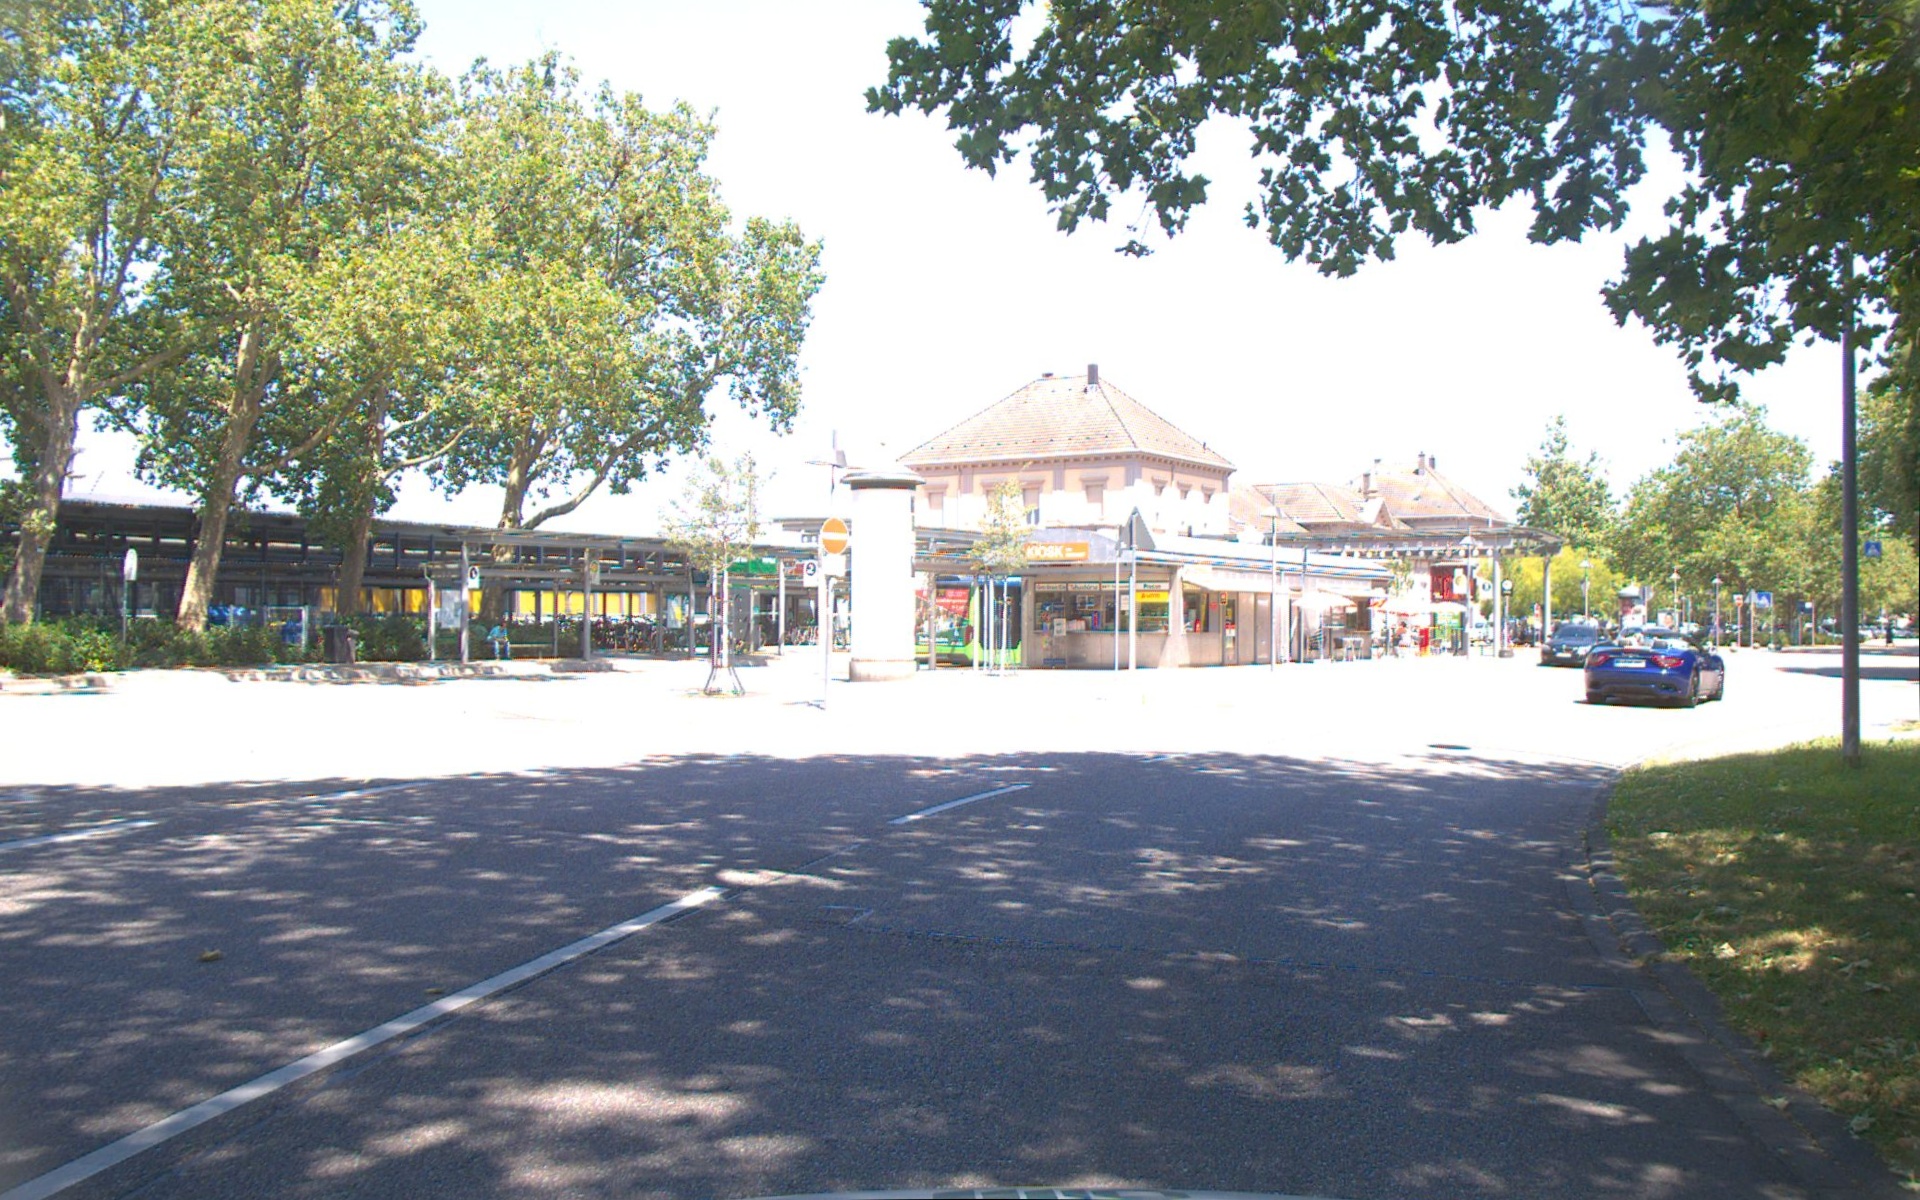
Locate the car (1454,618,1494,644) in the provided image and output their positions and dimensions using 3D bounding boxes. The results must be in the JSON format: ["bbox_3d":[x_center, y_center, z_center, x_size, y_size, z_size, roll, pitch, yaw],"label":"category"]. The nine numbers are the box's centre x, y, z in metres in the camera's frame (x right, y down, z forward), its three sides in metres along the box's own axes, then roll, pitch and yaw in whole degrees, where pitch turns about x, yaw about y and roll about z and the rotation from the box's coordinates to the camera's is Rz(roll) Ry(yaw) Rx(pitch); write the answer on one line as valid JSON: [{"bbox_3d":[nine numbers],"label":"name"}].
[{"bbox_3d":[39.747,2.357,127.784,1.720,1.951,4.762,-1,-1,33],"label":"car"}]

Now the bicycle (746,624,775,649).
[{"bbox_3d":[-8.939,1.623,74.218,1.356,1.113,0.385,-1,0,33],"label":"bicycle"}]

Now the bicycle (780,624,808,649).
[{"bbox_3d":[-7.400,1.615,73.783,1.357,1.113,0.385,-1,-1,35],"label":"bicycle"}]

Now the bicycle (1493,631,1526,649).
[{"bbox_3d":[31.763,2.307,95.670,1.754,1.049,0.489,0,-1,10],"label":"bicycle"}]

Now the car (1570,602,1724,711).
[{"bbox_3d":[12.935,1.020,30.991,2.086,1.881,4.038,0,-1,31],"label":"car"}]

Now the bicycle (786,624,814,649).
[{"bbox_3d":[-7.164,1.612,74.138,1.357,1.113,0.385,-1,-1,35],"label":"bicycle"}]

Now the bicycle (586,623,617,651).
[{"bbox_3d":[-14.752,1.522,68.019,1.357,1.113,0.385,-1,-3,35],"label":"bicycle"}]

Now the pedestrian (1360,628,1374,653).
[{"bbox_3d":[16.356,1.637,66.393,0.369,0.989,0.419,3,-4,-43],"label":"pedestrian"}]

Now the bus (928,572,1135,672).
[{"bbox_3d":[3.075,0.867,64.652,2.124,3.588,12.186,0,-1,33],"label":"bus"}]

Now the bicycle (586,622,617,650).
[{"bbox_3d":[-14.330,1.450,66.142,1.357,1.113,0.385,-1,-3,35],"label":"bicycle"}]

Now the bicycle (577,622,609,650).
[{"bbox_3d":[-14.602,1.430,65.765,1.357,1.113,0.385,-1,-3,35],"label":"bicycle"}]

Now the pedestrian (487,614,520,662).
[{"bbox_3d":[-14.425,1.205,52.229,0.594,1.489,0.820,-1,-1,30],"label":"pedestrian"}]

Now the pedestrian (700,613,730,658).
[{"bbox_3d":[-8.961,1.307,60.458,0.802,1.646,0.769,0,-2,15],"label":"pedestrian"}]

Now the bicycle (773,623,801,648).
[{"bbox_3d":[-7.670,1.573,73.338,1.377,1.119,0.366,-1,-1,35],"label":"bicycle"}]

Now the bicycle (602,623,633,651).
[{"bbox_3d":[-13.834,1.488,66.856,1.357,1.113,0.385,-1,-3,35],"label":"bicycle"}]

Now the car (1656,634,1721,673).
[{"bbox_3d":[31.075,2.286,70.530,1.783,1.469,4.146,-5,-3,33],"label":"car"}]

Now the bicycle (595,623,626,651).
[{"bbox_3d":[-14.057,1.470,66.515,1.357,1.113,0.385,-1,-3,35],"label":"bicycle"}]

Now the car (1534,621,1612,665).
[{"bbox_3d":[21.931,1.516,59.033,1.687,1.504,4.773,-1,-1,32],"label":"car"}]

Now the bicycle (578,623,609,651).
[{"bbox_3d":[-14.992,1.503,67.667,1.357,1.113,0.385,-1,-3,35],"label":"bicycle"}]

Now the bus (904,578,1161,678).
[{"bbox_3d":[2.946,1.011,57.738,2.626,3.094,13.858,-1,-1,31],"label":"bus"}]

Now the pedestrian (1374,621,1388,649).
[{"bbox_3d":[25.663,2.122,100.844,0.643,1.703,0.629,1,-3,-12],"label":"pedestrian"}]

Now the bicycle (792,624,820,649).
[{"bbox_3d":[-6.927,1.621,74.488,1.357,1.113,0.385,-1,-1,35],"label":"bicycle"}]

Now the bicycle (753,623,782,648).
[{"bbox_3d":[-8.678,1.618,74.626,1.357,1.113,0.385,-1,-1,34],"label":"bicycle"}]

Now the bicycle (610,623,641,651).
[{"bbox_3d":[-13.608,1.506,67.203,1.357,1.113,0.385,-1,-3,35],"label":"bicycle"}]
